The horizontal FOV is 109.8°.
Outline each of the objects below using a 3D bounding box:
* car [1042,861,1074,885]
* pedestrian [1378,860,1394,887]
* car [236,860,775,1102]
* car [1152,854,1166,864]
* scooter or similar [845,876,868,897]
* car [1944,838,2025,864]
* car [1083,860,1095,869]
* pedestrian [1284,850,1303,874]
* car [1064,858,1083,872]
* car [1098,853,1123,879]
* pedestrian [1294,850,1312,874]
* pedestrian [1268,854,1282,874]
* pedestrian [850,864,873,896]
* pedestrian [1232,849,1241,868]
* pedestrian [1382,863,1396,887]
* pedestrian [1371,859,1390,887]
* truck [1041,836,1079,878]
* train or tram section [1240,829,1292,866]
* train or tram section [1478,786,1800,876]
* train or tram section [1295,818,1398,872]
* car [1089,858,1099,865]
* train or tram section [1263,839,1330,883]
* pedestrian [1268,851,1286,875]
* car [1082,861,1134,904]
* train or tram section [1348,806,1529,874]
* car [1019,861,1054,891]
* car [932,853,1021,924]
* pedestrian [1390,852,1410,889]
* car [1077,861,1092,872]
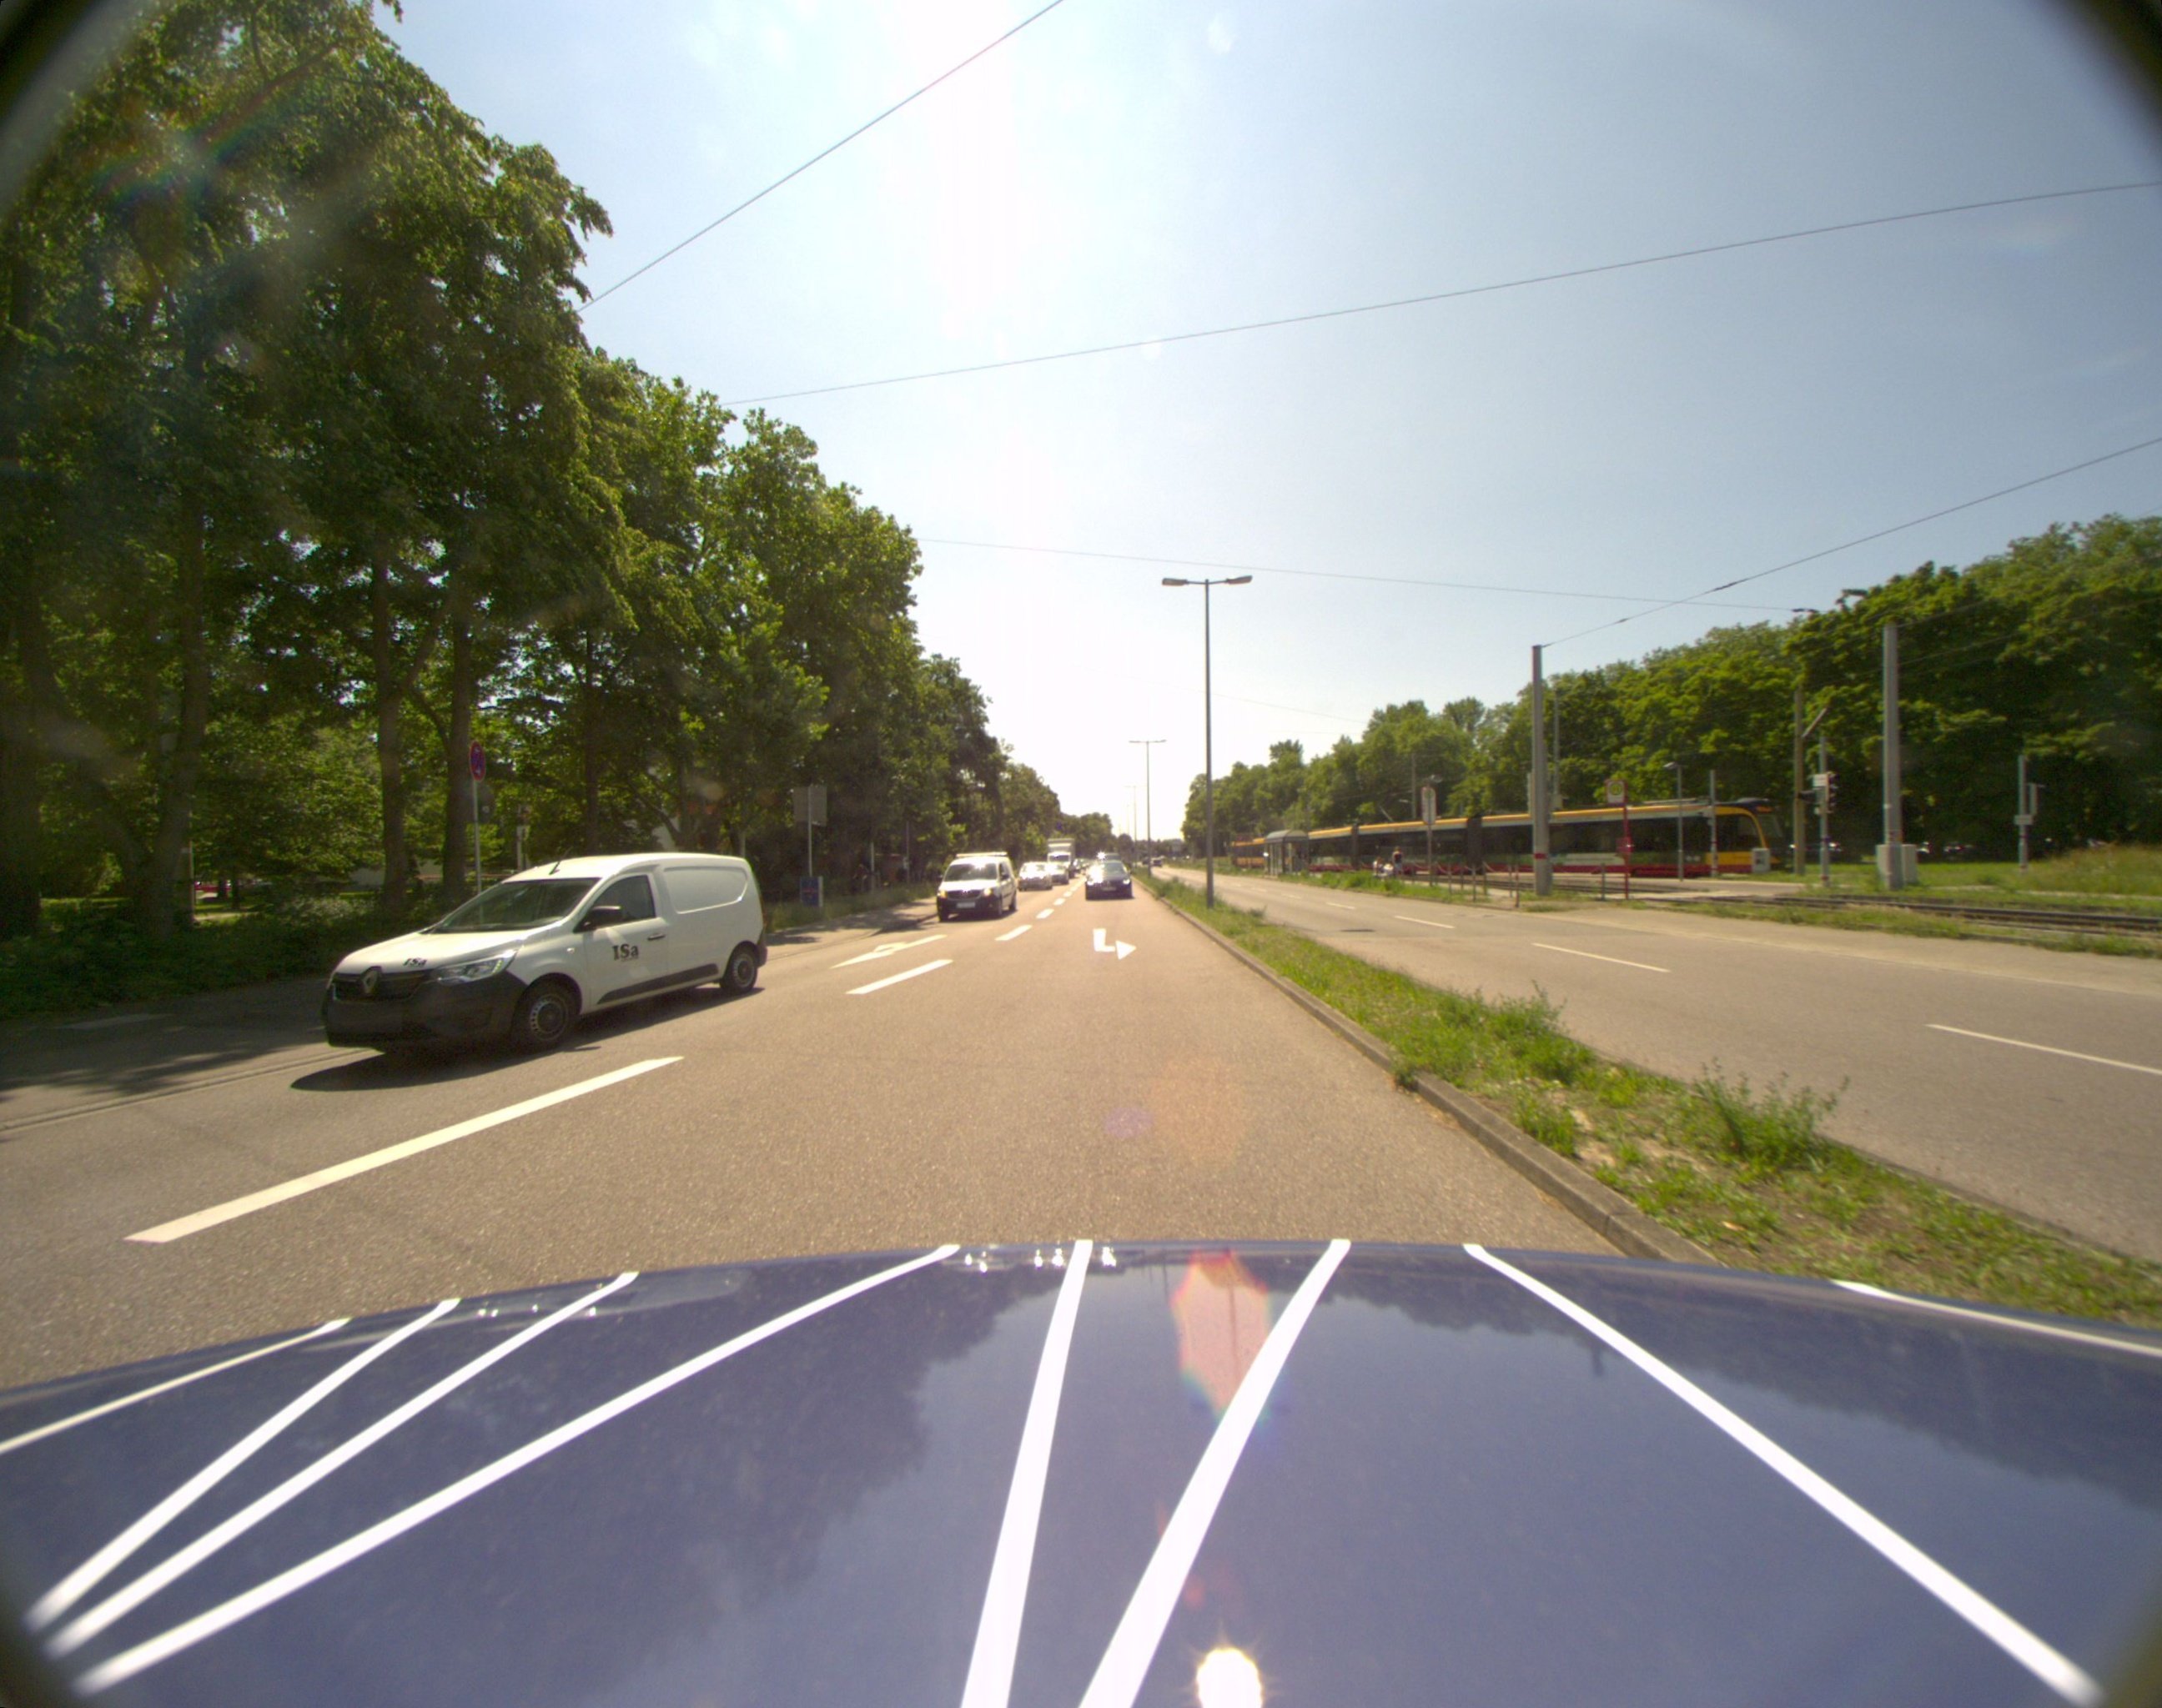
[{"bbox_3d":[-1.452,1.169,49.099,1.618,1.373,4.115,-3,0,3],"label":"car"},{"bbox_3d":[13.447,0.863,33.531,0.495,1.182,0.400,-3,0,-1],"label":"pedestrian"},{"bbox_3d":[-5.332,1.009,7.989,1.712,1.737,4.431,-3,0,11],"label":"car"},{"bbox_3d":[12.455,0.840,121.450,1.774,1.496,3.720,-2,0,0],"label":"car"},{"bbox_3d":[-10.072,1.438,34.133,0.710,0.888,0.763,-3,0,3],"label":"scooter or similar"},{"bbox_3d":[58.935,-0.164,49.600,1.389,1.586,3.069,-3,0,-11],"label":"car"},{"bbox_3d":[1.368,1.638,121.644,1.746,1.382,3.888,-2,0,3],"label":"car"},{"bbox_3d":[13.800,0.509,49.373,0.933,1.537,0.985,-3,0,0],"label":"pedestrian"},{"bbox_3d":[-0.803,1.196,81.807,1.746,1.382,3.888,-2,0,3],"label":"car"},{"bbox_3d":[2.261,0.866,58.014,1.746,1.840,3.888,-2,0,3],"label":"car"},{"bbox_3d":[14.139,0.526,48.444,0.836,1.499,0.879,-3,0,0],"label":"pedestrian"},{"bbox_3d":[13.196,0.678,51.667,0.703,1.276,0.840,-3,0,0],"label":"pedestrian"},{"bbox_3d":[-10.055,1.188,34.790,0.710,1.390,0.763,-3,0,3],"label":"pedestrian"},{"bbox_3d":[14.923,0.394,72.955,0.633,1.780,0.776,-3,0,0],"label":"pedestrian"},{"bbox_3d":[13.447,0.917,33.156,0.383,1.052,0.377,-3,0,0],"label":"pedestrian"},{"bbox_3d":[13.425,0.843,34.014,0.582,1.182,0.536,-3,0,-1],"label":"pedestrian"},{"bbox_3d":[-1.689,0.209,63.721,2.489,3.276,6.606,-2,0,4],"label":"truck"},{"bbox_3d":[20.822,-0.633,86.323,3.051,3.719,12.597,-3,0,2],"label":"train or tram section"},{"bbox_3d":[25.888,-0.830,36.663,3.057,3.603,12.428,-3,0,-26],"label":"train or tram section"},{"bbox_3d":[20.440,-0.628,59.783,3.051,3.603,13.897,-3,0,0],"label":"train or tram section"},{"bbox_3d":[2.706,1.558,156.351,1.745,1.382,3.889,-2,0,6],"label":"car"},{"bbox_3d":[20.507,0.599,73.402,3.051,3.745,13.263,-3,0,2],"label":"train or tram section"},{"bbox_3d":[13.010,0.593,50.531,0.876,1.537,1.026,-3,0,0],"label":"pedestrian"},{"bbox_3d":[1.044,1.022,28.779,1.746,1.382,3.888,-3,0,3],"label":"car"},{"bbox_3d":[21.755,-0.685,47.691,3.055,3.603,12.438,-3,0,-13],"label":"train or tram section"},{"bbox_3d":[-2.369,1.147,40.970,1.626,1.432,3.498,-3,0,0],"label":"car"},{"bbox_3d":[-3.024,0.938,23.101,1.809,1.845,5.083,-3,0,1],"label":"car"},{"bbox_3d":[13.703,0.700,32.644,0.536,1.556,0.582,-3,0,1],"label":"pedestrian"},{"bbox_3d":[0.487,1.608,99.936,1.618,1.373,4.115,-3,0,3],"label":"car"}]
